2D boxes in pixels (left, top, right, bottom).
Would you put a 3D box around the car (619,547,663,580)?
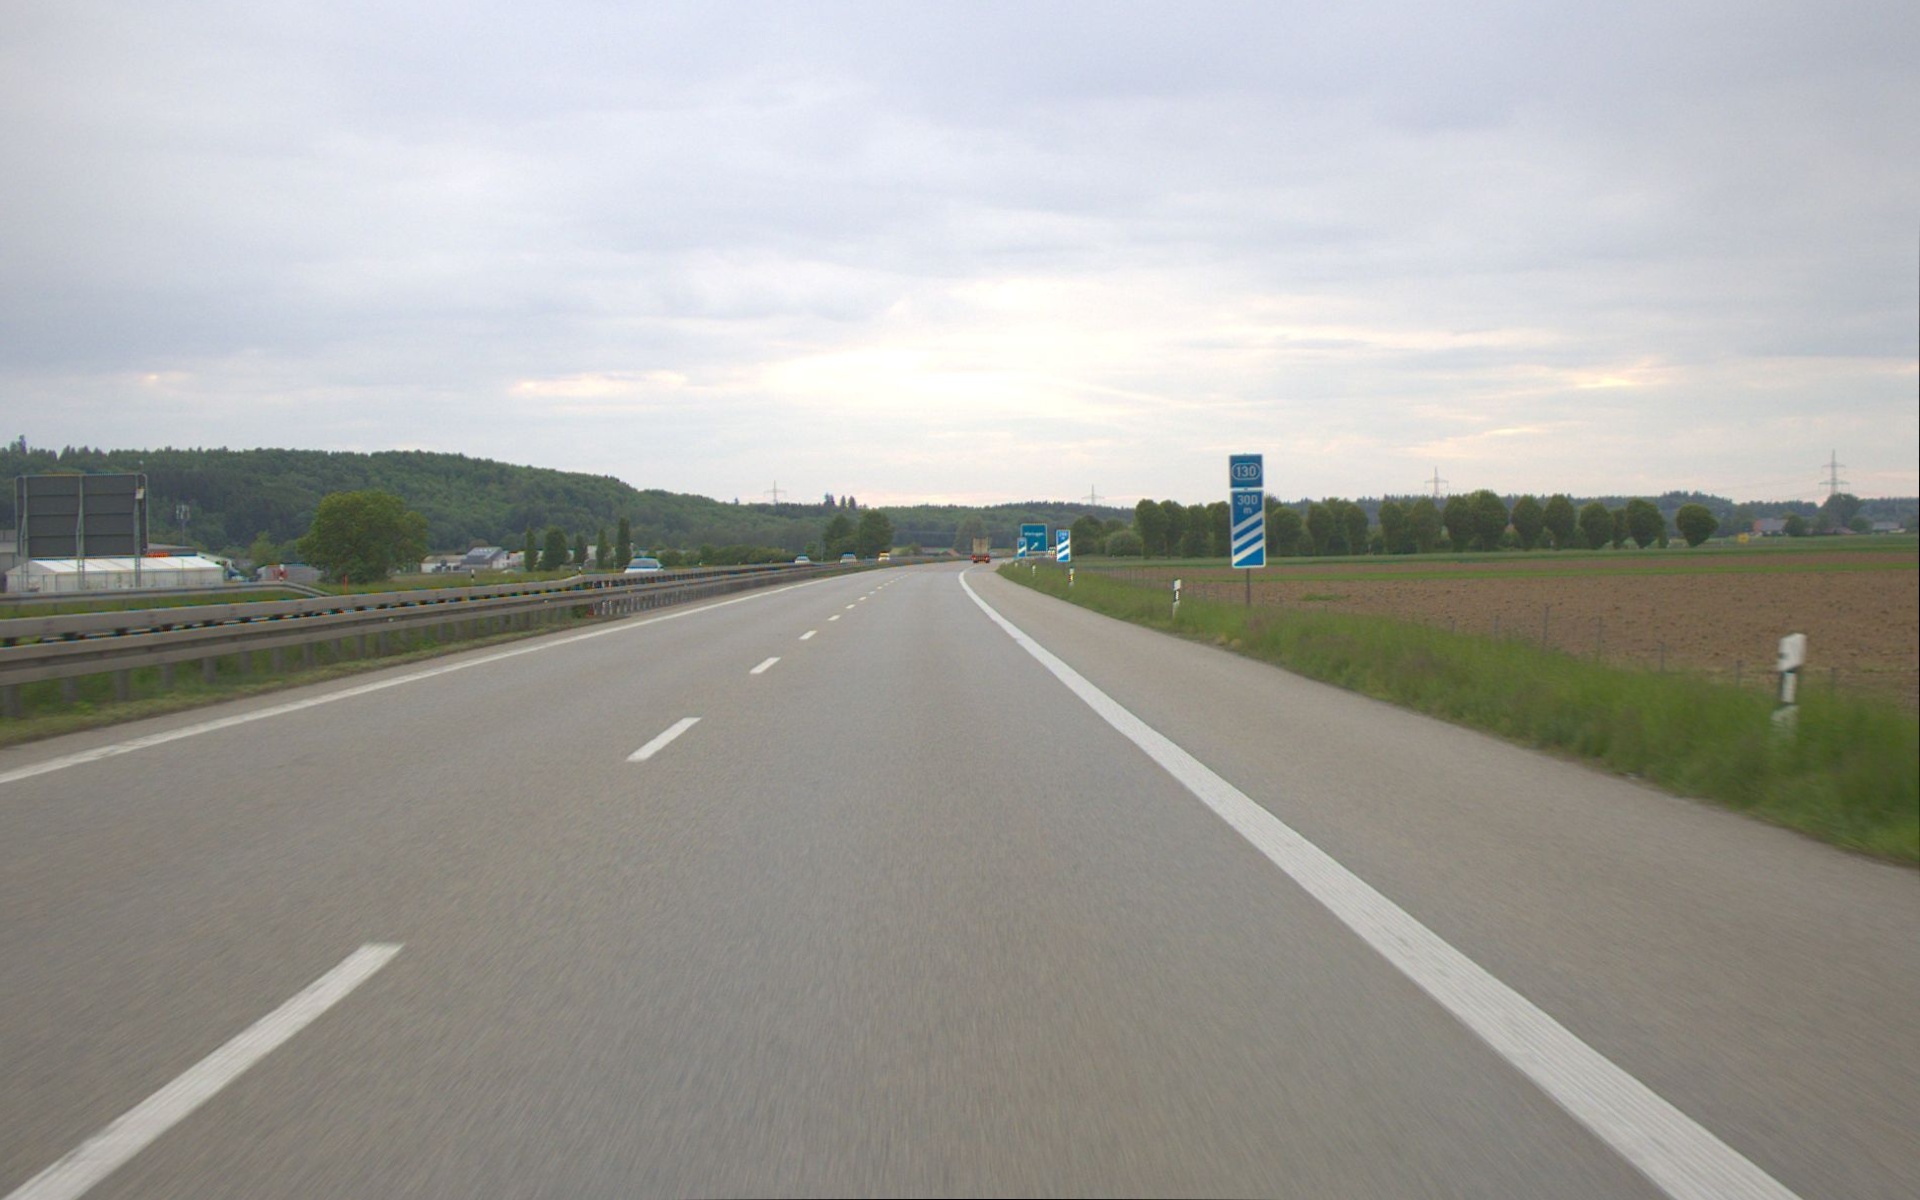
[{"bbox_3d":[-15.520,-1.780,167.484,1.740,1.569,4.857,1,1,-1],"label":"car"}]
